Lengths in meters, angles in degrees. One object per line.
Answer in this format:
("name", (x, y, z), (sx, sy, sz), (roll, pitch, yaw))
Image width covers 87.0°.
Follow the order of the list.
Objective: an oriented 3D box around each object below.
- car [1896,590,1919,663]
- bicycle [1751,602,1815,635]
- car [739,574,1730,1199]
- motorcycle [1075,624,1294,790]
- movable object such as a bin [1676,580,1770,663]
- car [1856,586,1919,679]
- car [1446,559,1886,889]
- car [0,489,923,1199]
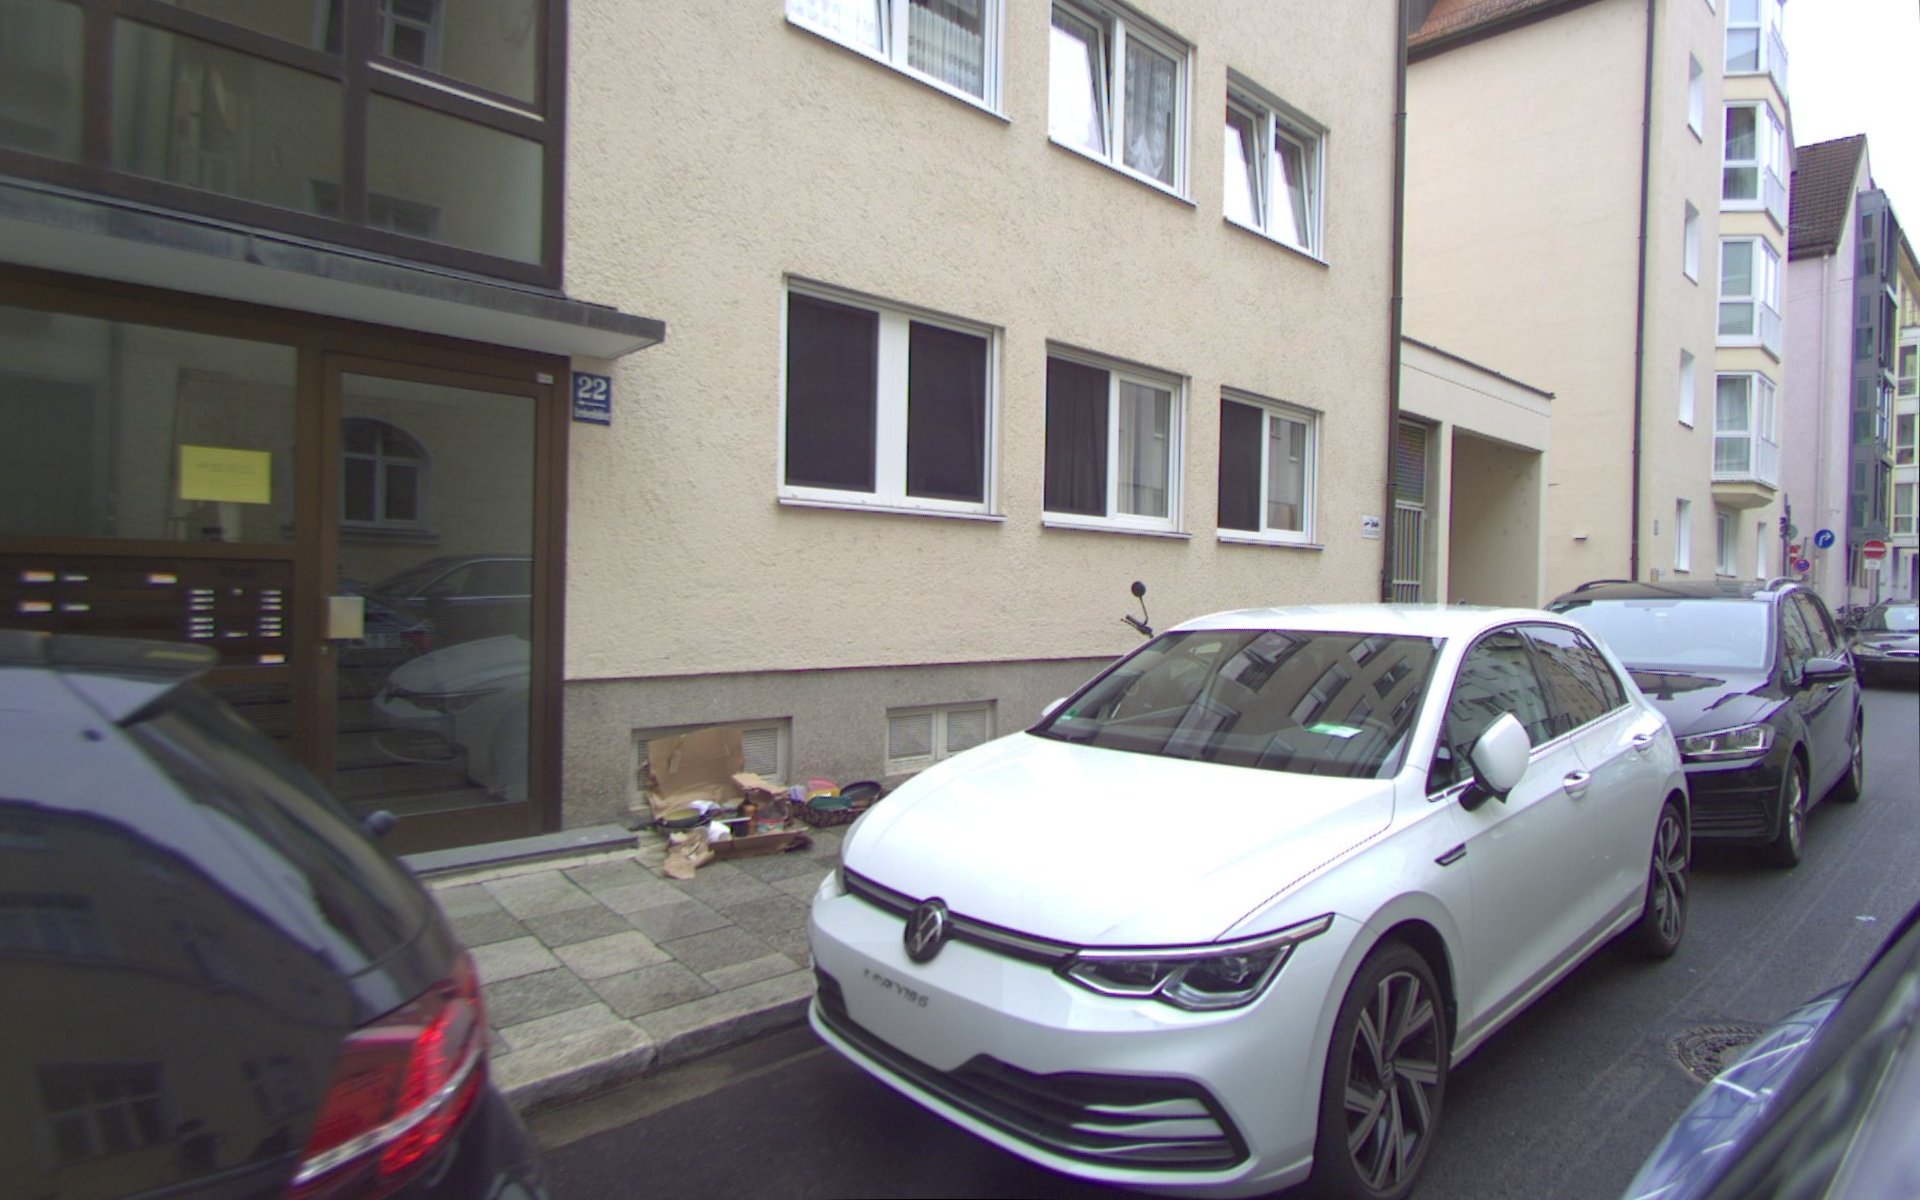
("car", (21.126, 0.517, 21.180), (4.335, 1.424, 1.835), (-1, 1, -42))
("bicycle", (25.147, 0.549, 30.940), (1.448, 0.959, 0.543), (2, 1, 45))
("car", (1.433, 0.680, 3.829), (4.173, 1.504, 1.713), (-1, 1, -43))
("motorcycle", (1.657, 0.703, 7.265), (1.878, 0.979, 0.482), (0, 5, -42))
("movable object such as a bin", (14.214, 0.366, 18.845), (1.559, 1.440, 1.034), (-1, 4, -41))
("car", (17.003, 0.501, 17.678), (4.457, 1.490, 1.718), (-1, 1, -44))
("car", (5.093, 0.583, 7.050), (4.173, 1.628, 1.713), (-1, 1, -43))
("car", (-2.142, 0.675, 0.597), (4.173, 1.504, 1.713), (-1, 1, -43))
